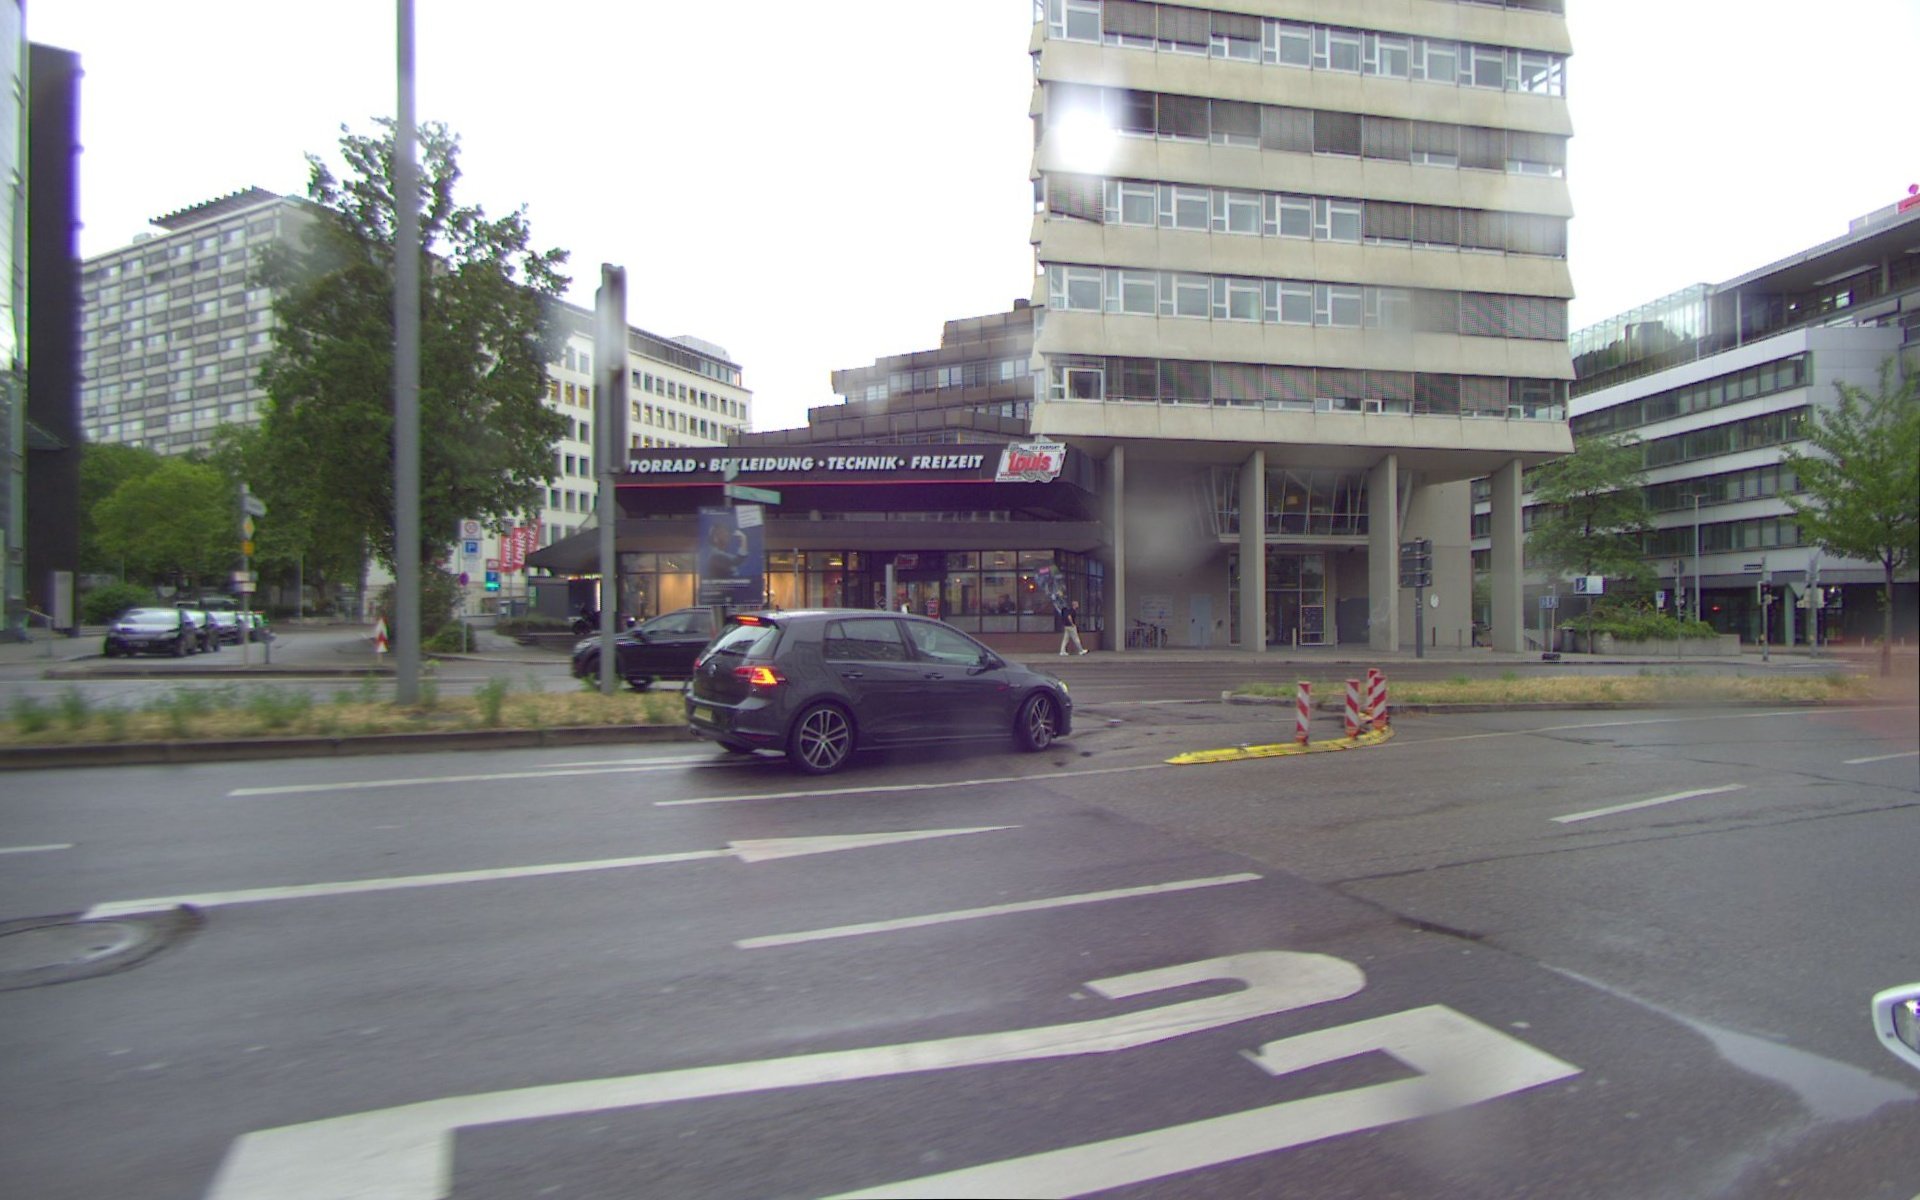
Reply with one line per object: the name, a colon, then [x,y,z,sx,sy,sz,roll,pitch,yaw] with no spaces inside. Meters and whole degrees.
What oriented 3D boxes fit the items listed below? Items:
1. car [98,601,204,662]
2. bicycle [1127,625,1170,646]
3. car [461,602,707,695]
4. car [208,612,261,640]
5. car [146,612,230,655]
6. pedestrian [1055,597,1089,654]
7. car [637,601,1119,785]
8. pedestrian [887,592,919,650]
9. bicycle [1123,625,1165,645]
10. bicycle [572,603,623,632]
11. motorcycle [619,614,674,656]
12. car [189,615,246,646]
car: [-24.324,0.917,30.345,1.978,1.662,3.965,2,0,-32]
bicycle: [8.060,1.514,42.993,1.742,0.823,0.454,2,0,-10]
car: [-7.144,0.845,19.021,4.402,1.564,1.997,0,-1,29]
car: [-37.479,1.342,51.946,1.826,1.305,3.966,2,0,-31]
car: [-26.507,1.126,34.628,1.826,1.305,3.966,2,0,-31]
pedestrian: [3.696,0.851,33.251,0.908,1.857,0.728,1,0,-12]
car: [-0.659,0.799,10.194,4.646,1.470,1.825,2,-1,-38]
pedestrian: [-1.862,0.697,32.878,0.908,1.857,0.818,1,0,-11]
bicycle: [7.968,1.514,43.577,1.742,0.823,0.454,2,0,-10]
bicycle: [-17.264,0.845,47.848,2.182,1.345,0.913,2,0,-30]
motorcycle: [-10.831,1.187,34.803,0.709,1.351,2.822,1,0,6]
car: [-34.705,1.392,47.045,1.827,1.305,3.965,2,0,-32]
